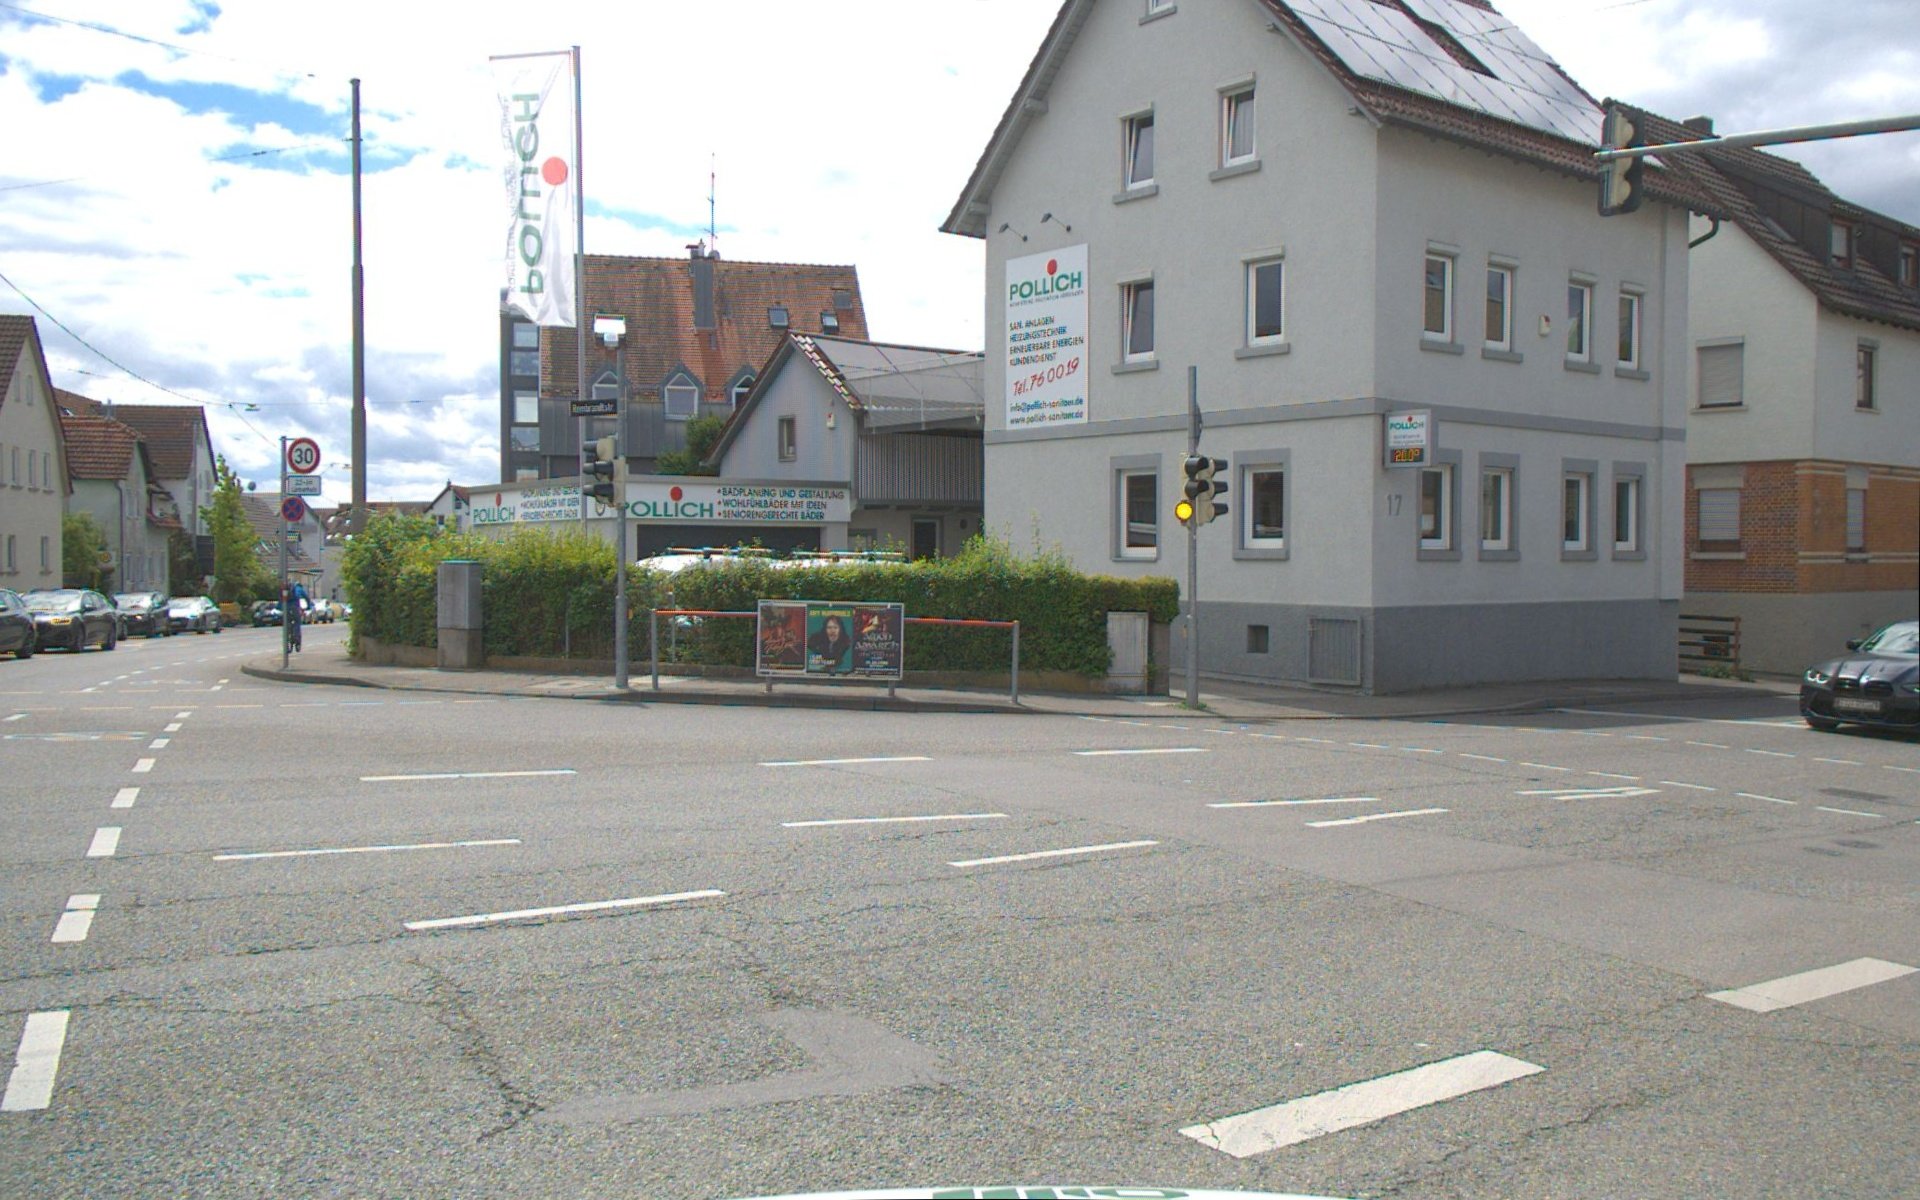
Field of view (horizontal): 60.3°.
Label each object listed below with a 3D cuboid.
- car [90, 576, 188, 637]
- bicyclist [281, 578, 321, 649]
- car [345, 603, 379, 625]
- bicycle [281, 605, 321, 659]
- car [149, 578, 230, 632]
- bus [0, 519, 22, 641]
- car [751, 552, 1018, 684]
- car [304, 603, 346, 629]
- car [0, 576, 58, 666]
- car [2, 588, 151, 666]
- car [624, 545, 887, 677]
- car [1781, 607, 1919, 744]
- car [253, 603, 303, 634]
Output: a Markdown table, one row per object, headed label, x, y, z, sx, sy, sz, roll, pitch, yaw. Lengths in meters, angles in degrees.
| label | x | y | z | sx | sy | sz | roll | pitch | yaw |
| --- | --- | --- | --- | --- | --- | --- | --- | --- | --- |
| car | -28.737 | 0.189 | 58.007 | 1.957 | 2.049 | 3.992 | 0 | 1 | -9 |
| bicyclist | -15.346 | 0.307 | 38.513 | 0.829 | 1.642 | 1.076 | 1 | 0 | -22 |
| car | -48.169 | 1.144 | 133.292 | 1.958 | 1.668 | 3.988 | 1 | 0 | -12 |
| bicycle | -15.331 | 0.722 | 38.466 | 0.820 | 1.184 | 2.177 | 1 | 0 | -22 |
| car | -30.199 | 0.171 | 64.935 | 1.958 | 2.049 | 3.989 | 1 | 0 | -12 |
| bus | -23.904 | -0.470 | 36.871 | 2.730 | 2.965 | 9.159 | 1 | 0 | -14 |
| car | -1.185 | 0.272 | 26.843 | 3.960 | 1.982 | 1.972 | 0 | 0 | -39 |
| car | -42.542 | 1.064 | 110.856 | 1.958 | 1.668 | 3.988 | 1 | 0 | -12 |
| car | -19.096 | 0.369 | 31.762 | 1.958 | 1.668 | 4.171 | 1 | 0 | -12 |
| car | -20.291 | 0.581 | 38.171 | 1.958 | 1.668 | 3.988 | 1 | 0 | -12 |
| car | -3.400 | 0.165 | 27.754 | 3.959 | 2.049 | 1.973 | 0 | 0 | -38 |
| car | 12.398 | 0.886 | 20.866 | 4.574 | 1.482 | 1.972 | 0 | 3 | -40 |
| car | -39.387 | 1.052 | 95.582 | 1.958 | 1.668 | 3.988 | 1 | 0 | -12 |
